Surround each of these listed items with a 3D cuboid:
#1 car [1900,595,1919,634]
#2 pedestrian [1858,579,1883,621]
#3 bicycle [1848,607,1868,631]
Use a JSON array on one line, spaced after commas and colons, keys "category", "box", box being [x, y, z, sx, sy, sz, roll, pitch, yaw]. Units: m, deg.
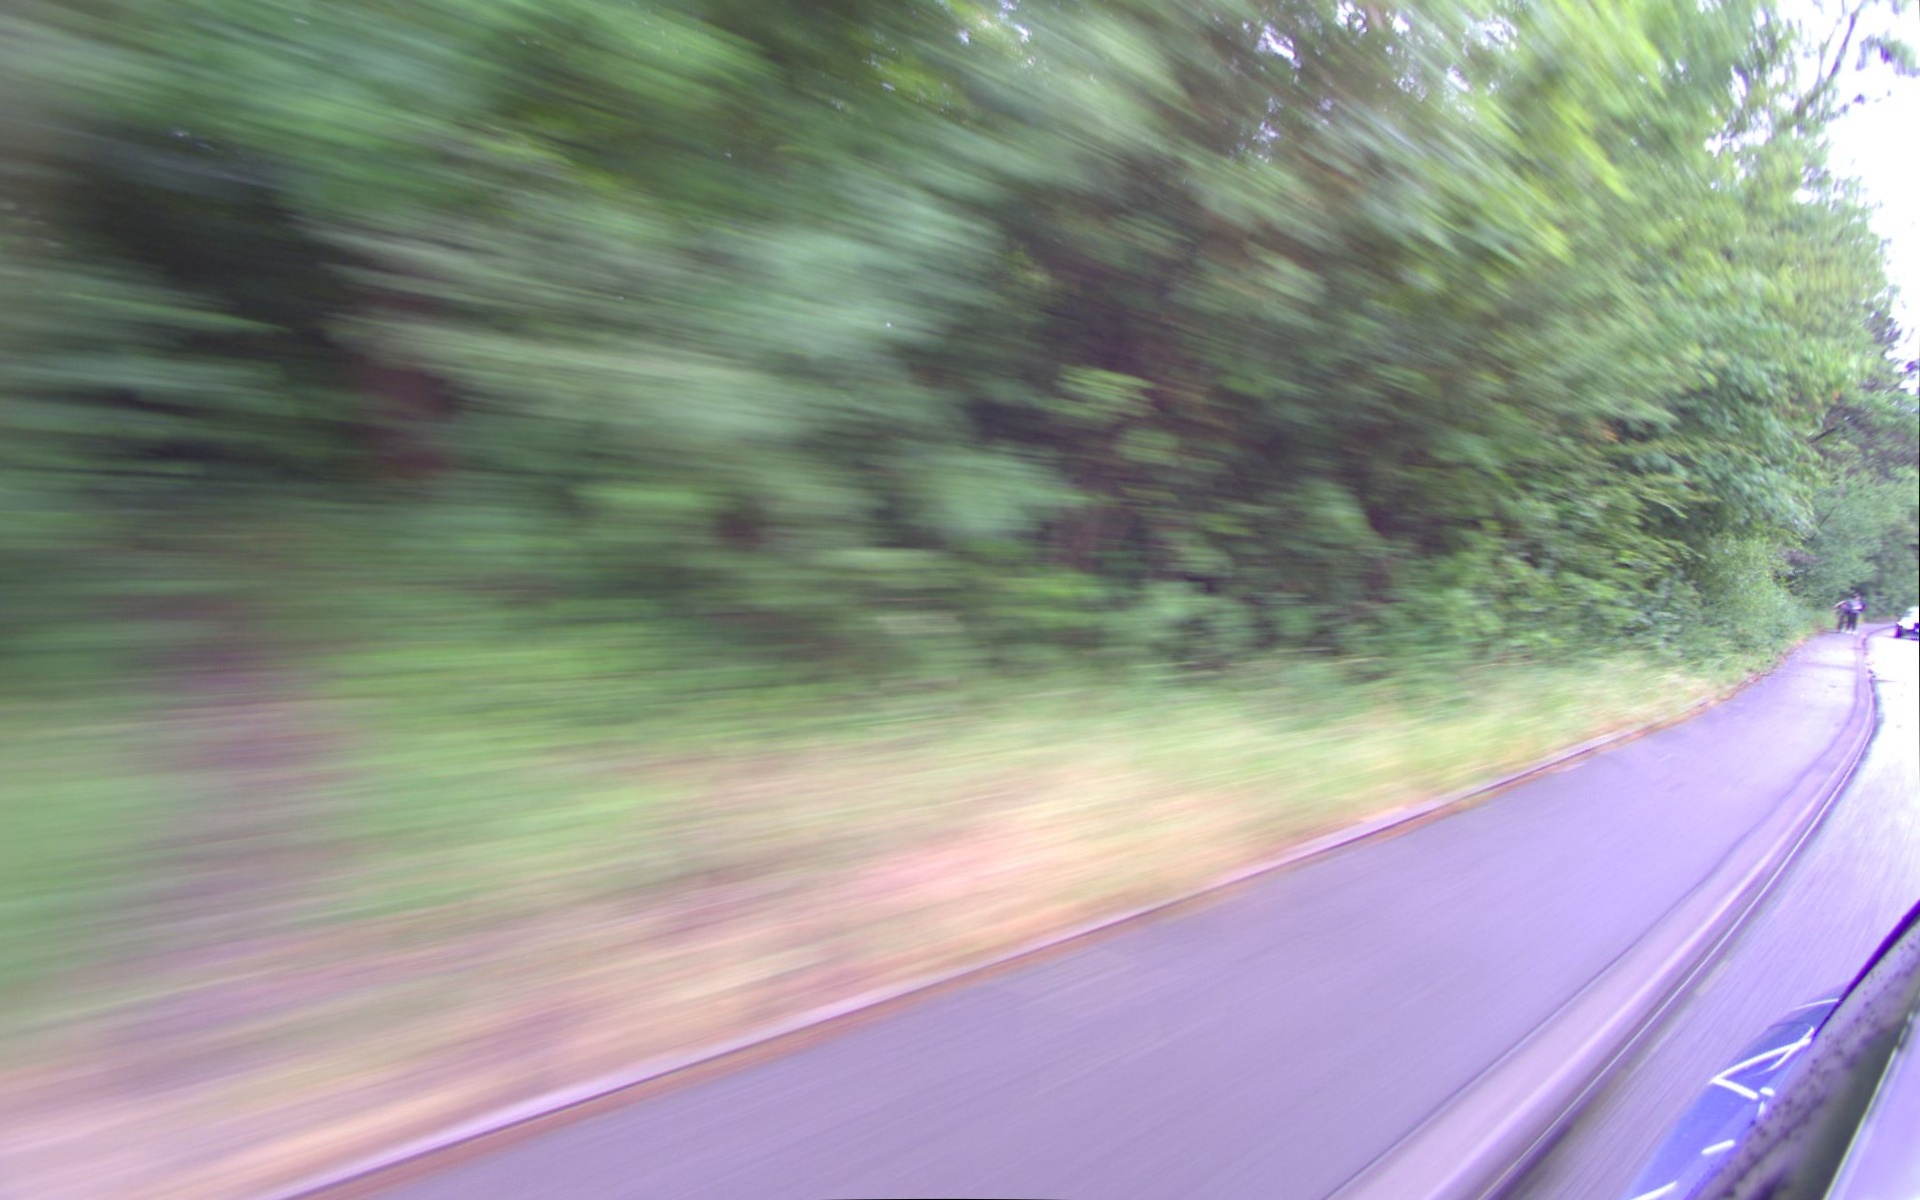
[{"category": "car", "box": [42.892, 0.788, 43.873, 3.919, 1.536, 1.839, 2, 8, -29]}, {"category": "pedestrian", "box": [36.524, -0.008, 40.600, 0.757, 1.594, 0.565, -4, 8, -44]}, {"category": "bicycle", "box": [35.874, 0.746, 40.417, 1.714, 0.858, 0.356, -3, 10, -44]}]
